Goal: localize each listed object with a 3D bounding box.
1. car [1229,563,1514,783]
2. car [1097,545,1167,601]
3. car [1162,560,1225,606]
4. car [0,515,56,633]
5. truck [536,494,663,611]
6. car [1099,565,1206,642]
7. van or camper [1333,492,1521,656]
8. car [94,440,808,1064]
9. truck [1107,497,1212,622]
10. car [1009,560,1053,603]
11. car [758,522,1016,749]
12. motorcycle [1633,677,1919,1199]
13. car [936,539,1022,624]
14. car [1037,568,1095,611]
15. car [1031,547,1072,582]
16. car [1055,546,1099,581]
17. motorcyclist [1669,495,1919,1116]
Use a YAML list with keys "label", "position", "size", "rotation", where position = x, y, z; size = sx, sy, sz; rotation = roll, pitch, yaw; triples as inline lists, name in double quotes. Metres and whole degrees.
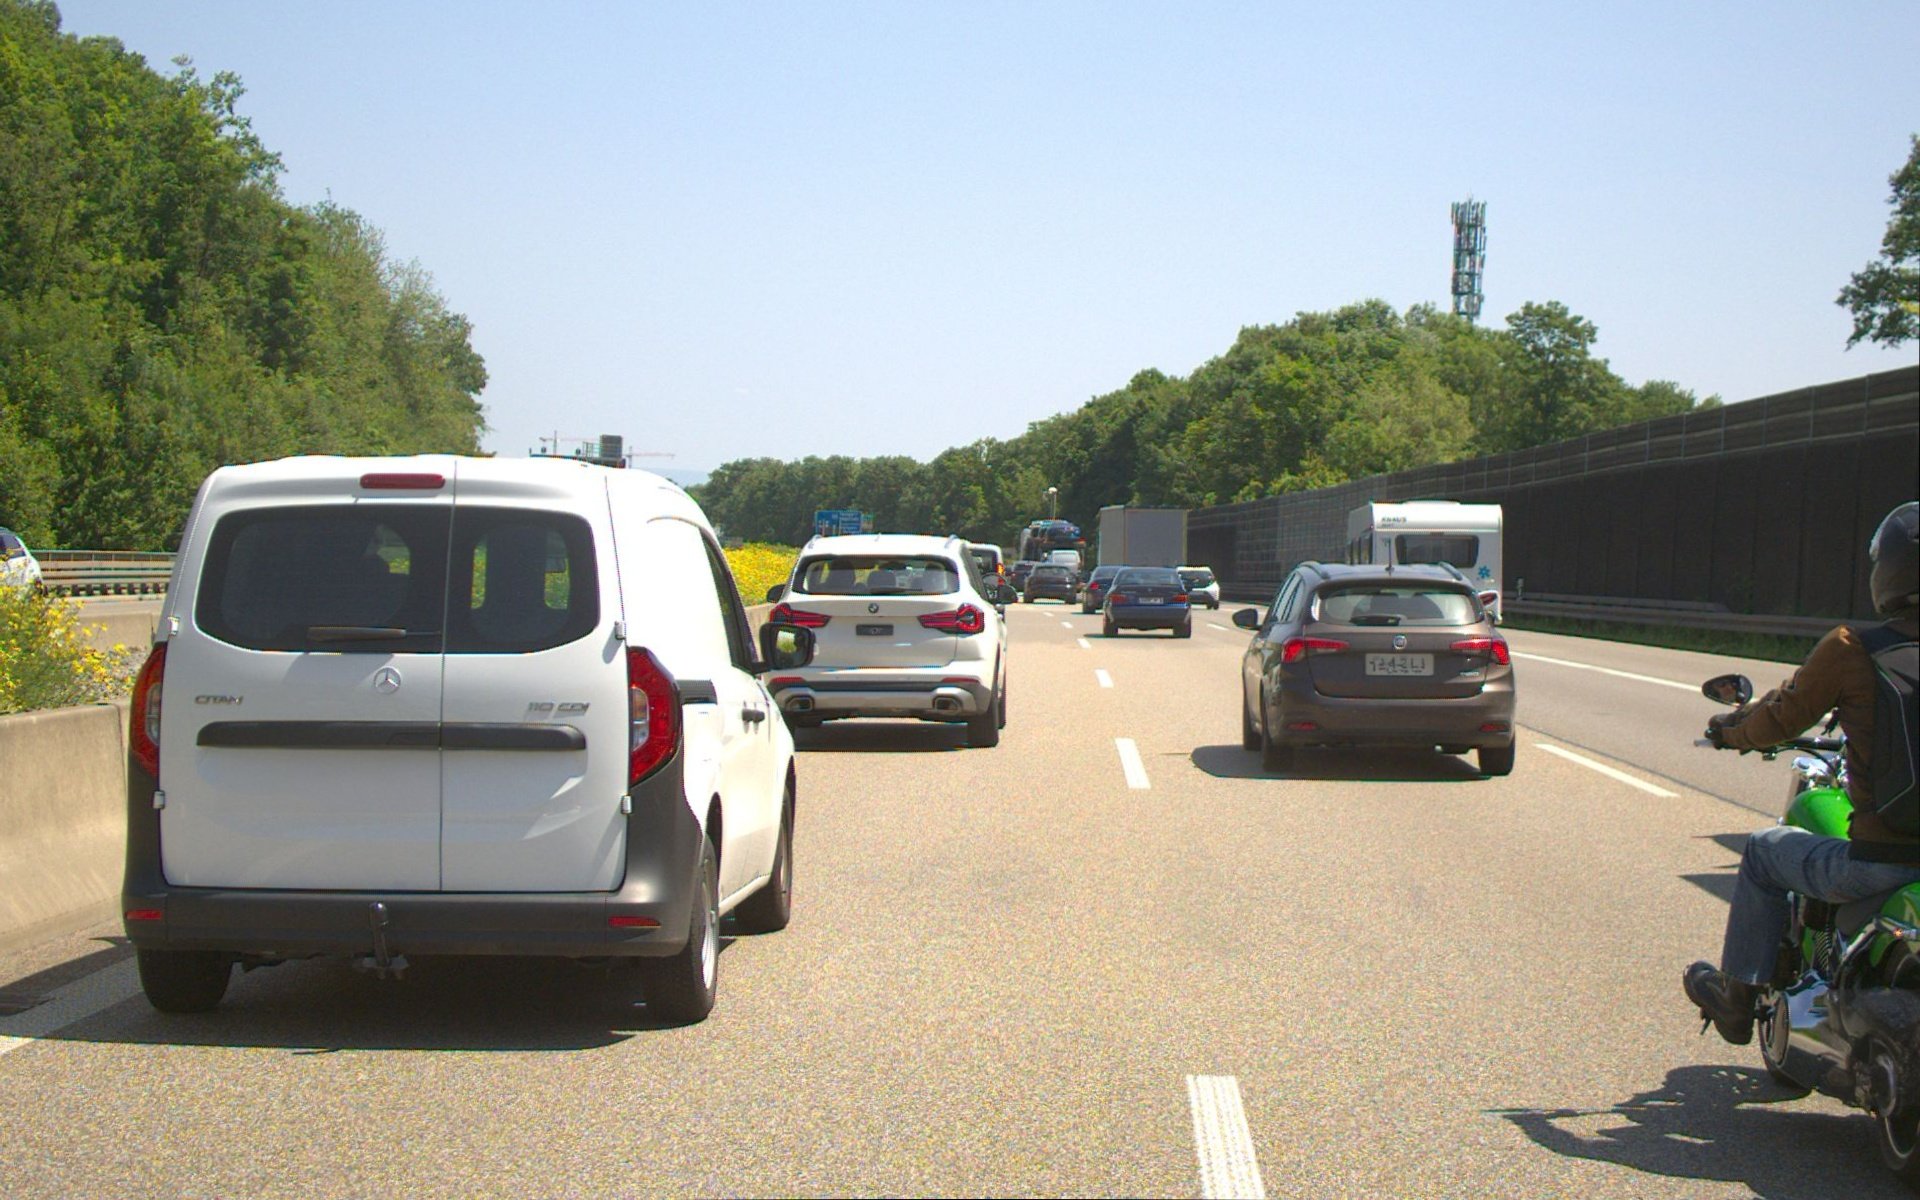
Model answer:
- label: "car"
  position: [2.925, 0.500, 25.120]
  size: [1.662, 1.448, 3.869]
  rotation: [1, 0, 1]
- label: "car"
  position: [4.920, -0.783, 98.764]
  size: [1.779, 1.546, 3.585]
  rotation: [1, 1, 0]
- label: "car"
  position: [8.283, -0.596, 122.091]
  size: [1.993, 1.569, 4.000]
  rotation: [1, 0, 1]
- label: "car"
  position: [-14.803, -0.407, 50.707]
  size: [1.795, 1.702, 4.147]
  rotation: [1, 1, 0]
- label: "truck"
  position: [-7.176, -0.968, 68.968]
  size: [1.837, 2.218, 6.197]
  rotation: [1, 1, 0]
- label: "car"
  position: [3.748, 0.076, 67.219]
  size: [1.994, 1.425, 3.847]
  rotation: [1, 0, 3]
- label: "van or camper"
  position: [8.470, -0.433, 63.028]
  size: [2.685, 2.803, 6.802]
  rotation: [1, 0, 2]
- label: "car"
  position: [-1.606, 0.421, 12.459]
  size: [1.765, 1.806, 4.674]
  rotation: [1, 1, 1]
- label: "truck"
  position: [8.186, -1.590, 142.360]
  size: [3.803, 4.943, 8.950]
  rotation: [1, 0, 1]
- label: "car"
  position: [3.375, -0.868, 163.955]
  size: [1.911, 2.007, 3.691]
  rotation: [1, 0, -1]
- label: "car"
  position: [-0.516, 0.242, 28.580]
  size: [1.864, 1.688, 4.956]
  rotation: [1, 1, 2]
- label: "motorcycle"
  position: [2.318, 0.840, 9.087]
  size: [0.965, 1.144, 2.810]
  rotation: [2, 1, 10]
- label: "car"
  position: [0.459, -0.397, 78.822]
  size: [1.899, 1.867, 4.412]
  rotation: [1, 0, 1]
- label: "car"
  position: [4.149, -0.407, 135.248]
  size: [1.993, 1.634, 4.000]
  rotation: [1, 0, -2]
- label: "car"
  position: [5.217, -2.028, 196.236]
  size: [2.107, 1.870, 4.000]
  rotation: [1, 0, -1]
- label: "car"
  position: [6.492, -2.028, 190.846]
  size: [2.107, 1.870, 4.000]
  rotation: [1, 0, -2]
- label: "motorcyclist"
  position: [2.377, 0.498, 9.107]
  size: [0.900, 1.470, 1.871]
  rotation: [1, 0, 10]
